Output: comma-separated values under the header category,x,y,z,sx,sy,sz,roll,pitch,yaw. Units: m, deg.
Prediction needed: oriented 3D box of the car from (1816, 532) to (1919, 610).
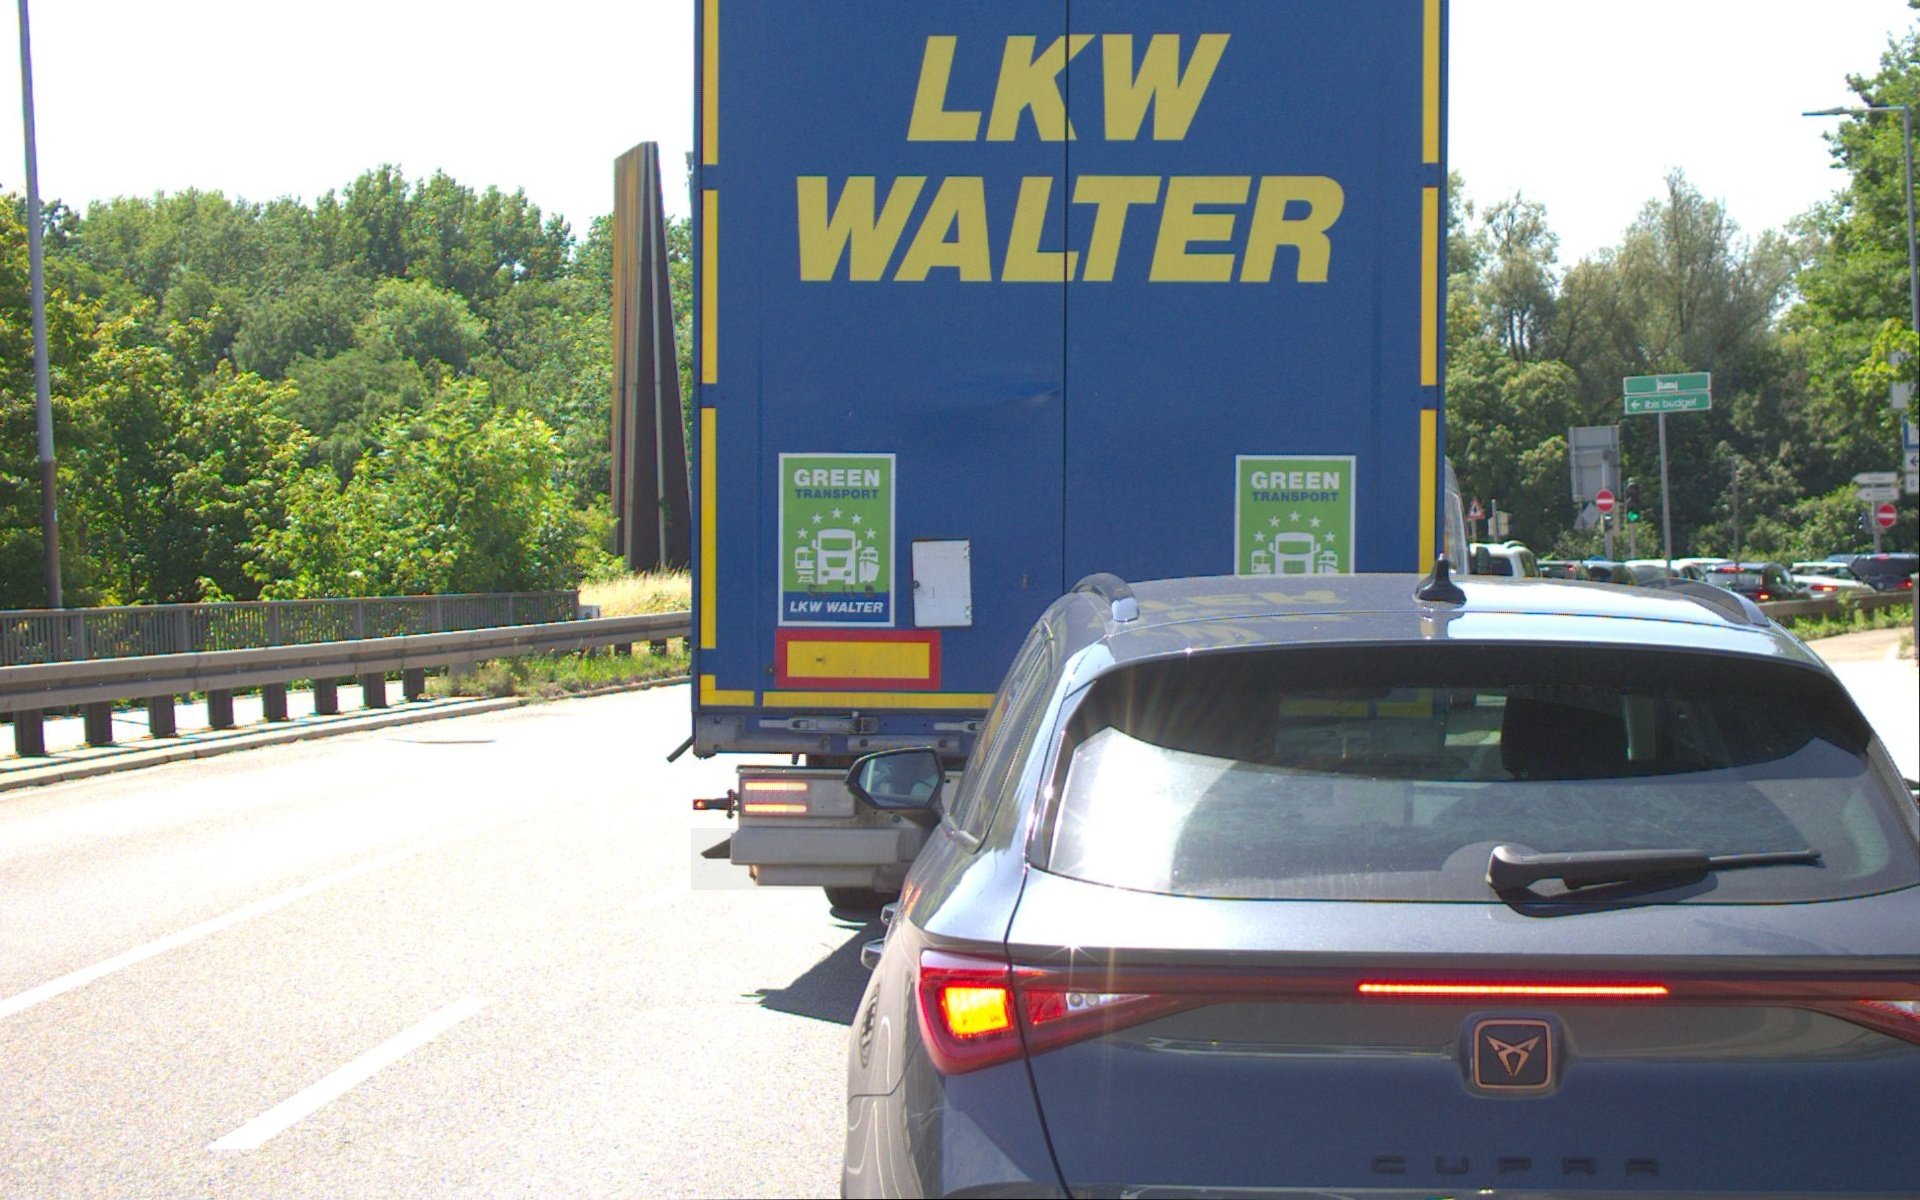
category,x,y,z,sx,sy,sz,roll,pitch,yaw
car,21.360,-0.668,80.358,1.688,1.754,3.994,0,0,28

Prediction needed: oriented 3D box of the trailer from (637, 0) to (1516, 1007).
category,x,y,z,sx,sy,sz,roll,pitch,yaw
trailer,1.138,-0.995,17.554,2.905,4.403,12.430,0,1,7

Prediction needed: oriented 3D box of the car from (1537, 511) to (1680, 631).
category,x,y,z,sx,sy,sz,roll,pitch,yaw
car,10.440,-0.490,55.171,1.722,1.837,3.996,0,1,19

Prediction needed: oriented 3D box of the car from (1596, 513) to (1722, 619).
category,x,y,z,sx,sy,sz,roll,pitch,yaw
car,12.536,-0.629,61.497,1.722,1.837,3.996,0,1,19

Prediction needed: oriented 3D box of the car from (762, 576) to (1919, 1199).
category,x,y,z,sx,sy,sz,roll,pitch,yaw
car,0.671,0.701,5.951,1.677,1.451,3.958,0,1,2

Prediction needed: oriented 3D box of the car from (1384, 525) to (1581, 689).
category,x,y,z,sx,sy,sz,roll,pitch,yaw
car,6.280,0.033,40.992,1.722,1.837,3.997,0,2,18

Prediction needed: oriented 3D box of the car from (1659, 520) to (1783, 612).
category,x,y,z,sx,sy,sz,roll,pitch,yaw
car,15.118,-0.661,68.150,1.687,1.754,3.995,0,0,23

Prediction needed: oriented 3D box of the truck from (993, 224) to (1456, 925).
category,x,y,z,sx,sy,sz,roll,pitch,yaw
truck,2.081,-0.226,25.045,2.905,4.403,6.554,0,1,7

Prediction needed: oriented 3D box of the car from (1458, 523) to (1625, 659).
category,x,y,z,sx,sy,sz,roll,pitch,yaw
car,8.042,-0.161,47.309,1.722,1.796,3.997,0,1,18

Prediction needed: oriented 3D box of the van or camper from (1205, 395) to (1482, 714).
category,x,y,z,sx,sy,sz,roll,pitch,yaw
van or camper,3.868,-0.463,33.610,2.155,2.806,6.384,0,1,11

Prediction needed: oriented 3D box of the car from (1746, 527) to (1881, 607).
category,x,y,z,sx,sy,sz,roll,pitch,yaw
car,18.494,-0.697,74.384,1.996,1.570,3.994,2,0,26
